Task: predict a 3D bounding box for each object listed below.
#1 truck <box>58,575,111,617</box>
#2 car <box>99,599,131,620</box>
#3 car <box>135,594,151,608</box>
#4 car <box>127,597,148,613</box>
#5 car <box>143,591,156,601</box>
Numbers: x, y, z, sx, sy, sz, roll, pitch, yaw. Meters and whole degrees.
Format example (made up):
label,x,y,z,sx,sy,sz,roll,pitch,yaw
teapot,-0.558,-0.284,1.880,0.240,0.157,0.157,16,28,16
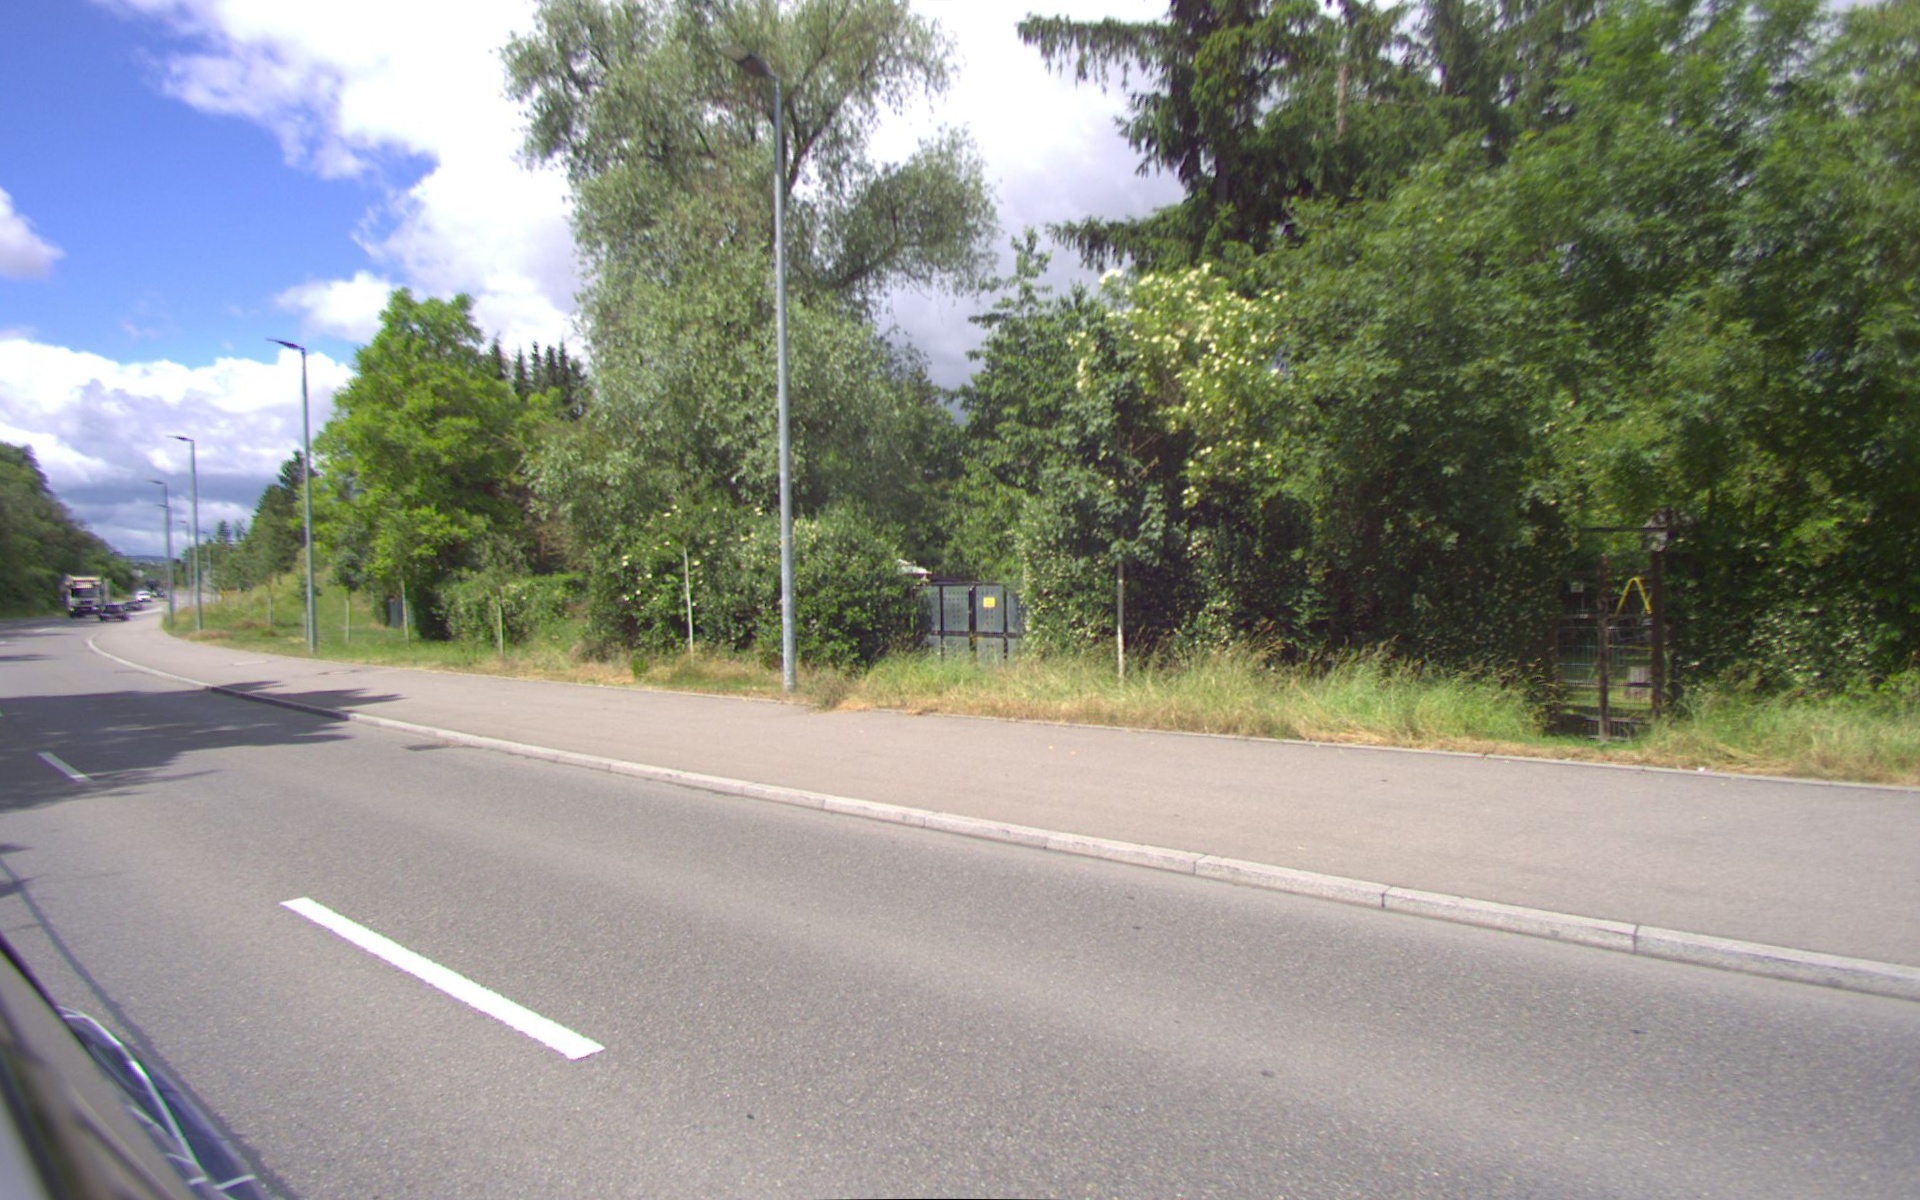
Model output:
label,x,y,z,sx,sy,sz,roll,pitch,yaw
truck,-84.829,-0.359,98.191,3.190,3.889,9.896,0,0,-37
car,-71.023,0.785,85.093,1.775,1.674,4.009,0,0,-37
car,-136.904,0.110,169.557,1.968,2.242,4.008,-1,0,-38
car,-104.266,0.603,128.306,1.968,2.029,4.008,0,0,-38
car,-163.585,-0.793,204.226,1.968,2.029,4.008,-1,0,-38
